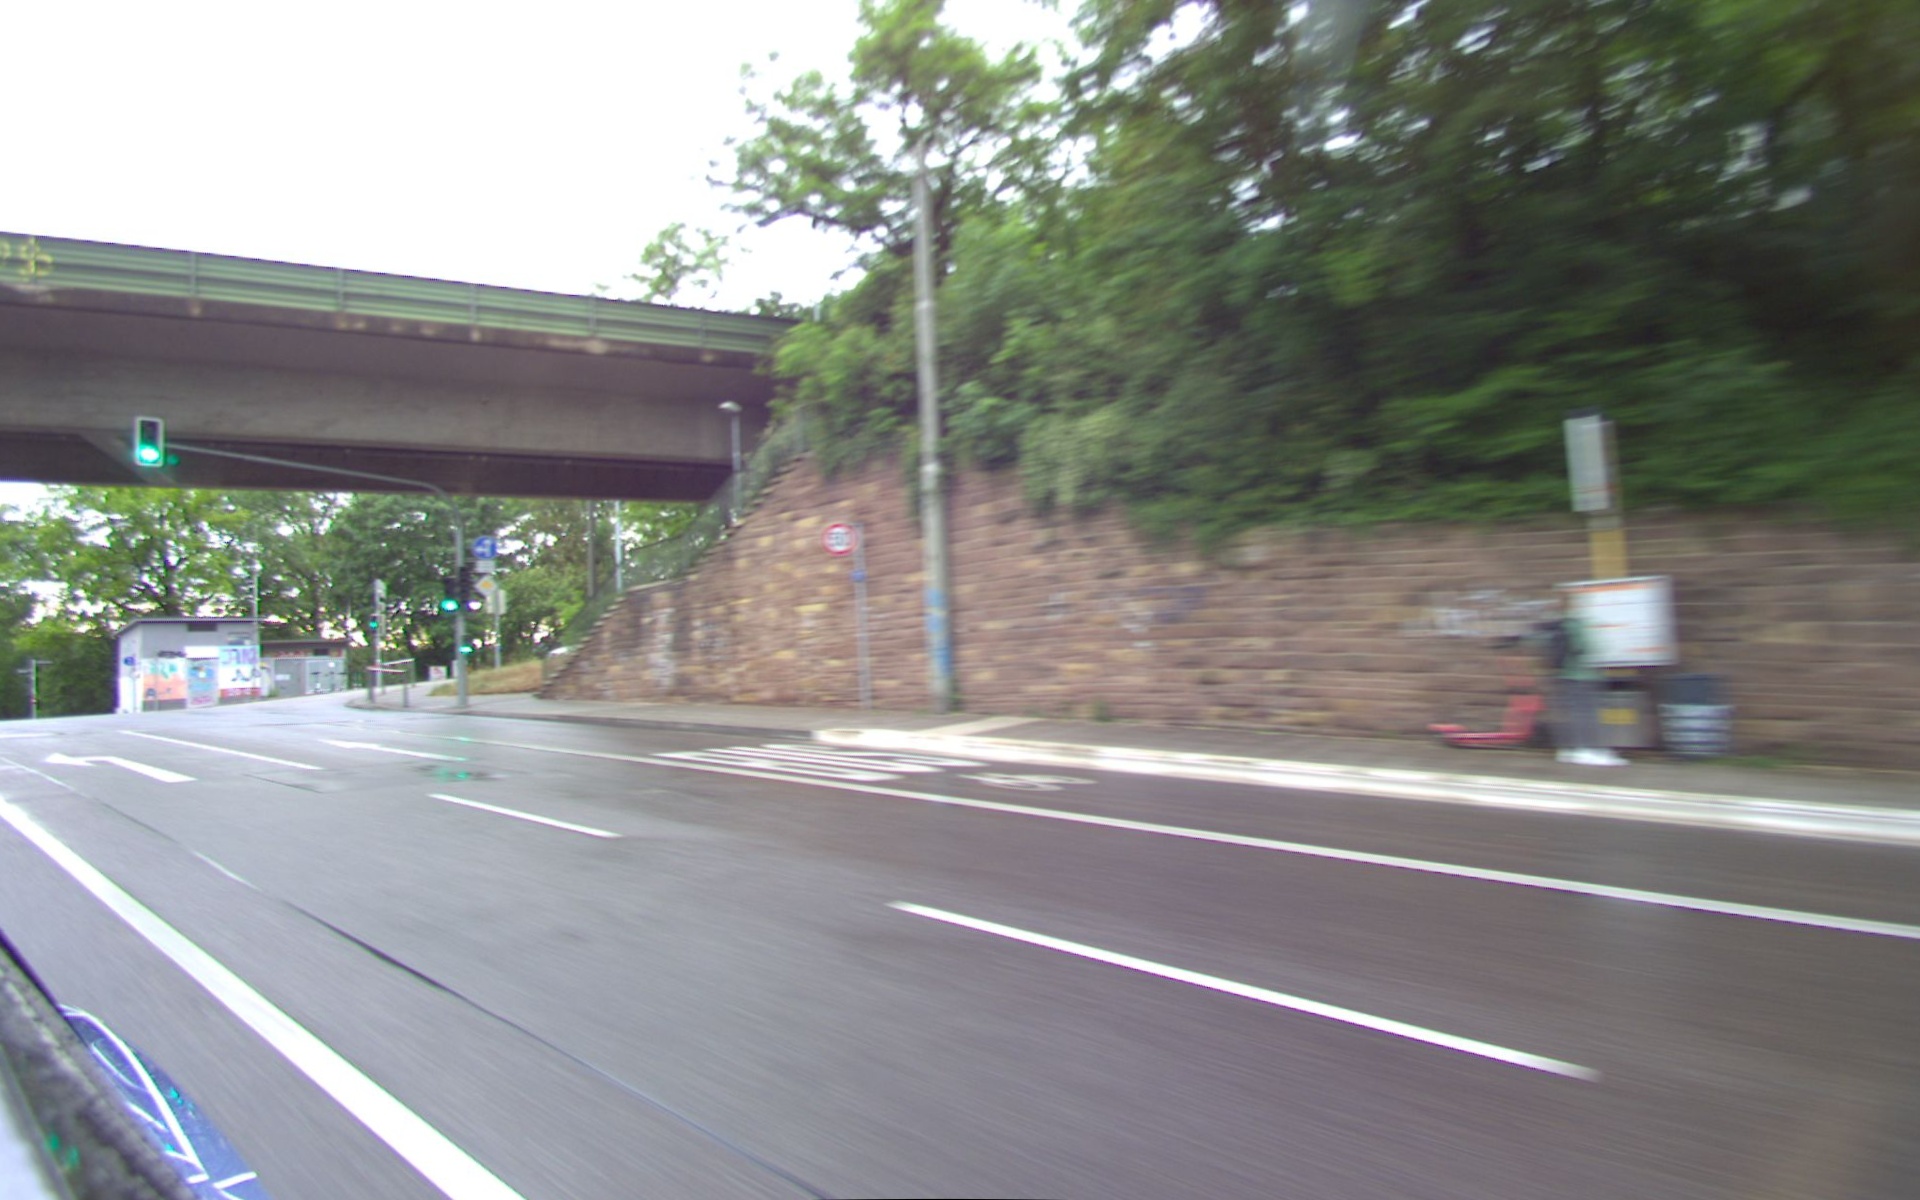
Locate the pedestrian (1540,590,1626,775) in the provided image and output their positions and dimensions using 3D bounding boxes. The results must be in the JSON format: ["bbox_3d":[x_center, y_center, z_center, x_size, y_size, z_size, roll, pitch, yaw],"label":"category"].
[{"bbox_3d":[6.145,0.785,9.978,0.622,1.745,0.582,-2,-1,39],"label":"pedestrian"}]

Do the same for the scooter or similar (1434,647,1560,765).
[{"bbox_3d":[5.796,1.117,10.947,1.125,1.190,0.369,-2,-1,41],"label":"scooter or similar"}]
